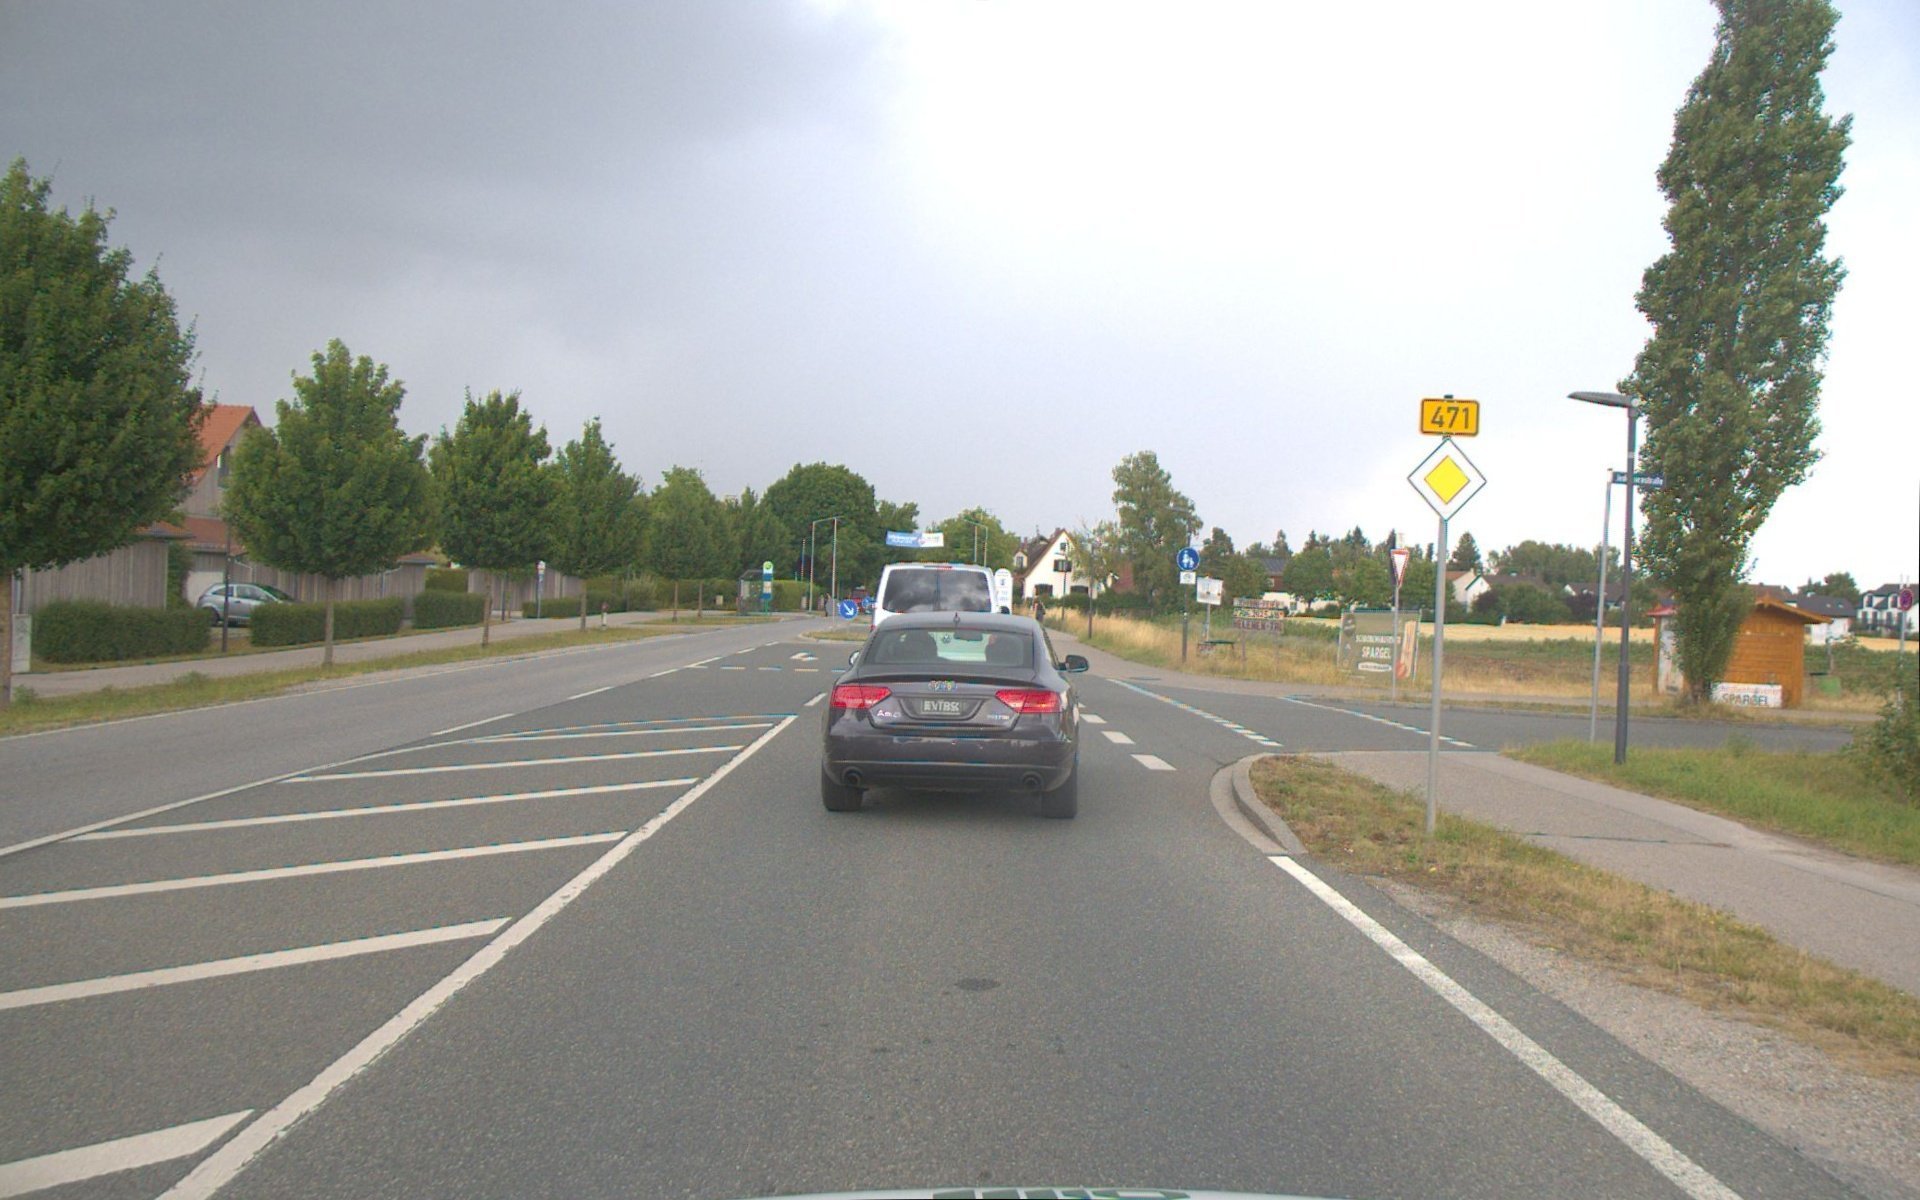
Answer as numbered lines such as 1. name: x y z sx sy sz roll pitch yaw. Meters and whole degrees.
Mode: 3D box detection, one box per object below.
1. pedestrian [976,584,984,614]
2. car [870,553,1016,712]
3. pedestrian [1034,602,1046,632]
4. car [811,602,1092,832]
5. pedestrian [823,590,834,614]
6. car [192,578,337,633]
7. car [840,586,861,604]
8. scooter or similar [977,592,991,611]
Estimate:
1. pedestrian: 1.183 -0.075 98.143 0.475 1.762 0.642 0 0 -1
2. car: -0.294 0.404 23.302 1.789 1.946 3.998 3 0 -2
3. pedestrian: 4.105 0.867 84.913 0.611 1.551 0.679 0 0 -1
4. car: 0.111 0.739 12.683 1.787 1.413 4.390 0 0 4
5. pedestrian: -8.538 0.146 107.309 0.611 1.551 0.679 0 0 -1
6. car: -23.262 0.186 55.438 3.905 1.583 2.000 3 0 0
7. car: -9.264 -0.450 140.221 1.620 1.454 3.601 0 0 -1
8. scooter or similar: 1.423 0.070 99.206 0.831 1.123 1.094 0 0 -1
